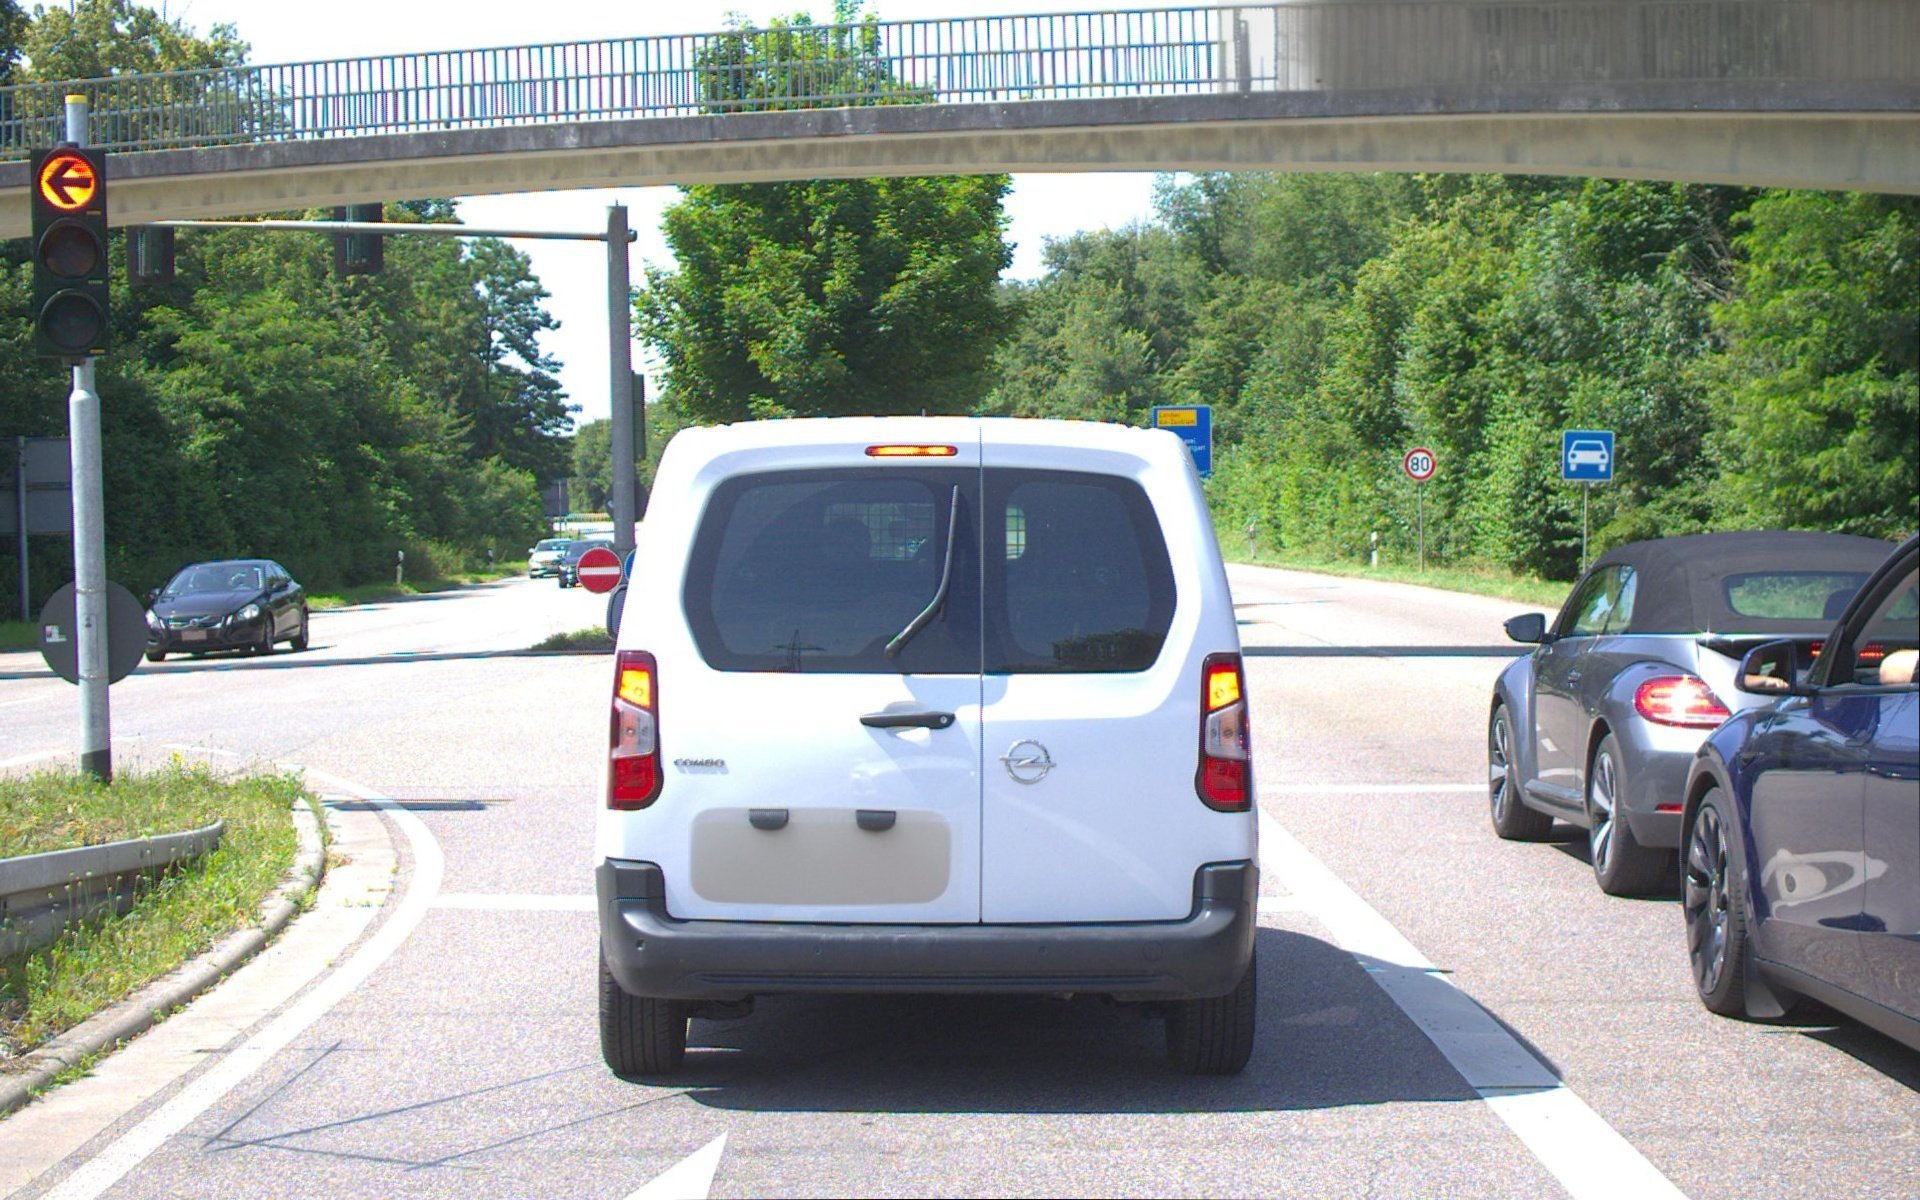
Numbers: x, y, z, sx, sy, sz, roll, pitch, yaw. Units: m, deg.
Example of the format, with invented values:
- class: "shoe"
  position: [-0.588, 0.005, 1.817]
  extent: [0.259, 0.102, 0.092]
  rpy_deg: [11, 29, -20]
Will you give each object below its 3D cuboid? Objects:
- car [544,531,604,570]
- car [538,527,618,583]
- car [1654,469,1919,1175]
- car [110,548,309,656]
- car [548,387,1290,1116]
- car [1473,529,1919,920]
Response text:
- class: "car"
  position: [-14.518, -1.865, 129.555]
  extent: [1.752, 1.402, 4.000]
  rpy_deg: [-1, 1, 0]
- class: "car"
  position: [-11.957, -1.417, 107.750]
  extent: [1.993, 1.659, 4.000]
  rpy_deg: [-1, 1, 0]
- class: "car"
  position: [3.193, 0.504, 8.862]
  extent: [1.900, 1.639, 4.520]
  rpy_deg: [1, 1, 0]
- class: "car"
  position: [-11.151, 0.003, 51.347]
  extent: [2.008, 1.455, 4.055]
  rpy_deg: [-2, 1, 0]
- class: "car"
  position: [-0.121, 0.317, 10.648]
  extent: [1.849, 1.819, 3.982]
  rpy_deg: [1, 2, 0]
- class: "car"
  position: [3.497, 0.441, 15.122]
  extent: [1.900, 1.472, 3.939]
  rpy_deg: [1, 1, 0]
